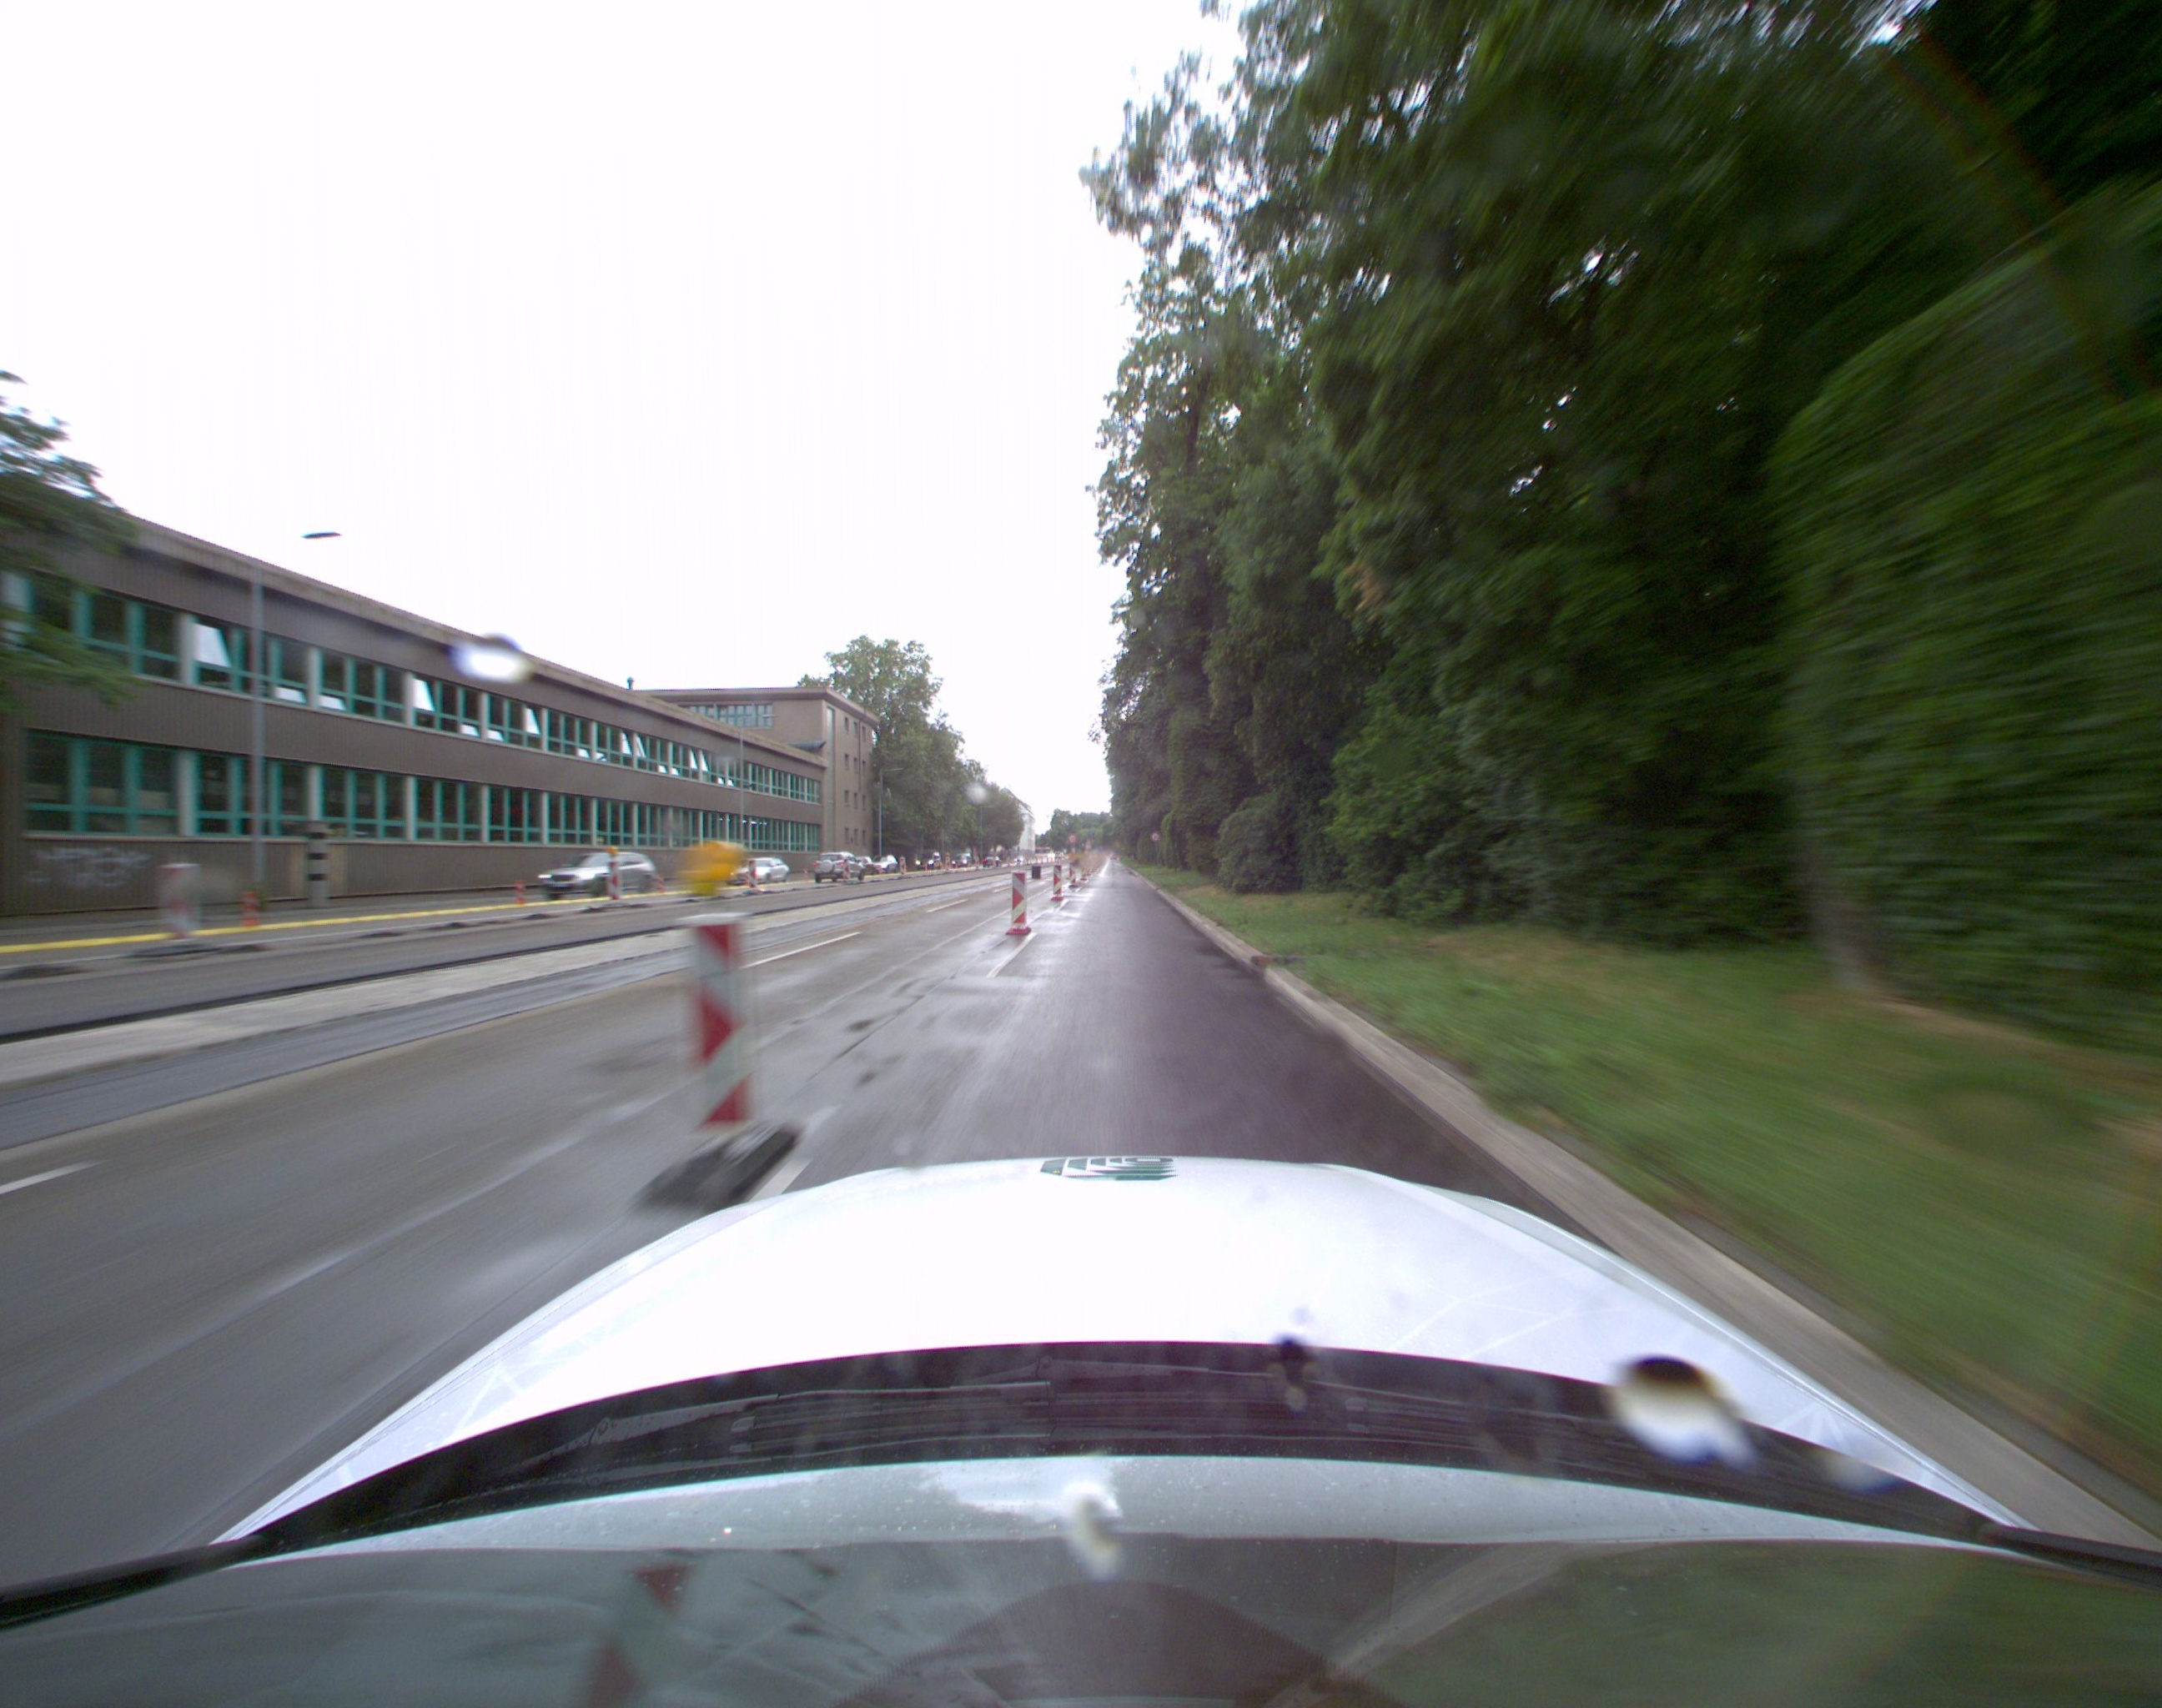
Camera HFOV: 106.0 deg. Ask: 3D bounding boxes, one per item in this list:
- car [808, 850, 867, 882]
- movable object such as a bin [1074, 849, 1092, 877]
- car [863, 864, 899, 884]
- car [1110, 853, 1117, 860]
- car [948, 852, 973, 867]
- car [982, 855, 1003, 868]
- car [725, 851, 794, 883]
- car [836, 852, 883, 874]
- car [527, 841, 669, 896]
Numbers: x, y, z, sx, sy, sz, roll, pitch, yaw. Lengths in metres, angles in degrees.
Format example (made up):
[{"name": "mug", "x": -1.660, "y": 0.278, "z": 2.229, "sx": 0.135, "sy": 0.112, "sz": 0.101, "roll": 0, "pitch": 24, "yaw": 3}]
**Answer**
[{"name": "car", "x": -13.179, "y": 0.682, "z": 44.386, "sx": 1.847, "sy": 1.648, "sz": 4.001, "roll": 0, "pitch": -1, "yaw": 2}, {"name": "movable object such as a bin", "x": 0.286, "y": 1.150, "z": 100.405, "sx": 1.986, "sy": 3.368, "sz": 5.985, "roll": 0, "pitch": -1, "yaw": 2}, {"name": "car", "x": -17.994, "y": 1.786, "z": 73.533, "sx": 1.931, "sy": 1.706, "sz": 4.936, "roll": 0, "pitch": -1, "yaw": 1}, {"name": "car", "x": 8.491, "y": 0.624, "z": 212.551, "sx": 1.986, "sy": 1.673, "sz": 4.002, "roll": 0, "pitch": -1, "yaw": 2}, {"name": "car", "x": -14.825, "y": 0.711, "z": 100.114, "sx": 1.985, "sy": 1.780, "sz": 4.959, "roll": 0, "pitch": -1, "yaw": 4}, {"name": "car", "x": -10.956, "y": 0.976, "z": 100.973, "sx": 1.986, "sy": 1.519, "sz": 4.001, "roll": 0, "pitch": -1, "yaw": 2}, {"name": "car", "x": -16.541, "y": 0.667, "z": 42.097, "sx": 1.797, "sy": 1.534, "sz": 3.993, "roll": 0, "pitch": -1, "yaw": 2}, {"name": "car", "x": -15.798, "y": 0.662, "z": 58.285, "sx": 1.885, "sy": 1.502, "sz": 4.520, "roll": 0, "pitch": -1, "yaw": 4}, {"name": "car", "x": -16.961, "y": 0.521, "z": 28.920, "sx": 1.980, "sy": 1.768, "sz": 4.678, "roll": 0, "pitch": -1, "yaw": 3}]
